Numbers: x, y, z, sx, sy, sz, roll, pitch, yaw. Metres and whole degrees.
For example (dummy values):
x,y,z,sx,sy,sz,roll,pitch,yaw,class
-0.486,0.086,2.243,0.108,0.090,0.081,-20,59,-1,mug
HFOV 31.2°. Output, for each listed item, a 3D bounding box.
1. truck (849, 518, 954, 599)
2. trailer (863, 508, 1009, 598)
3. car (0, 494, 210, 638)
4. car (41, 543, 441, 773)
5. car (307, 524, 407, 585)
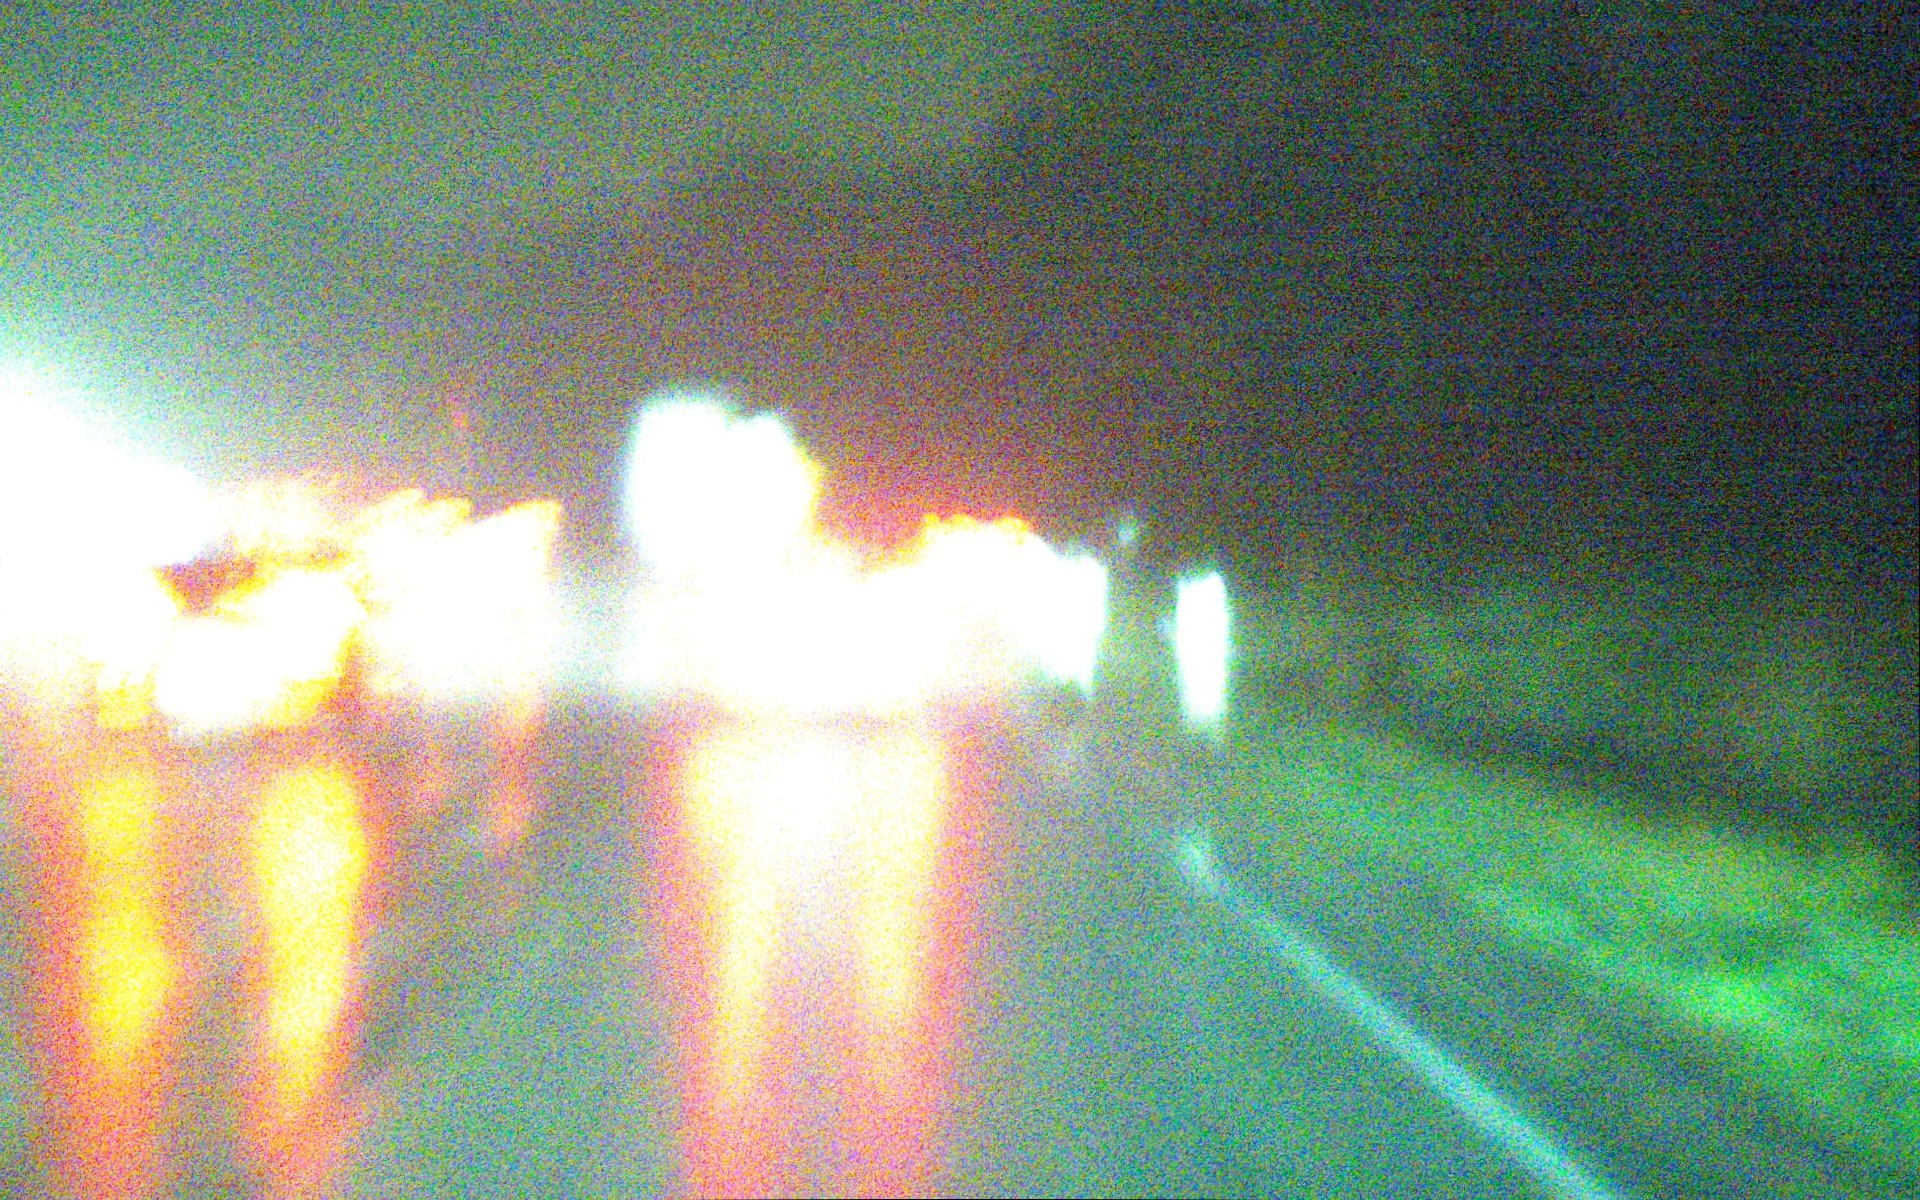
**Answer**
x,y,z,sx,sy,sz,roll,pitch,yaw,class
-1.584,-1.091,90.530,2.070,2.007,4.882,1,0,-9,truck
-0.696,-1.130,84.074,2.077,2.007,10.650,1,0,-8,trailer
-9.796,-0.406,39.483,1.767,1.512,4.916,1,1,-6,car
-4.846,0.355,23.739,1.962,1.376,4.049,2,0,-2,car
-15.967,-1.188,91.190,1.892,1.545,4.000,2,0,0,car
